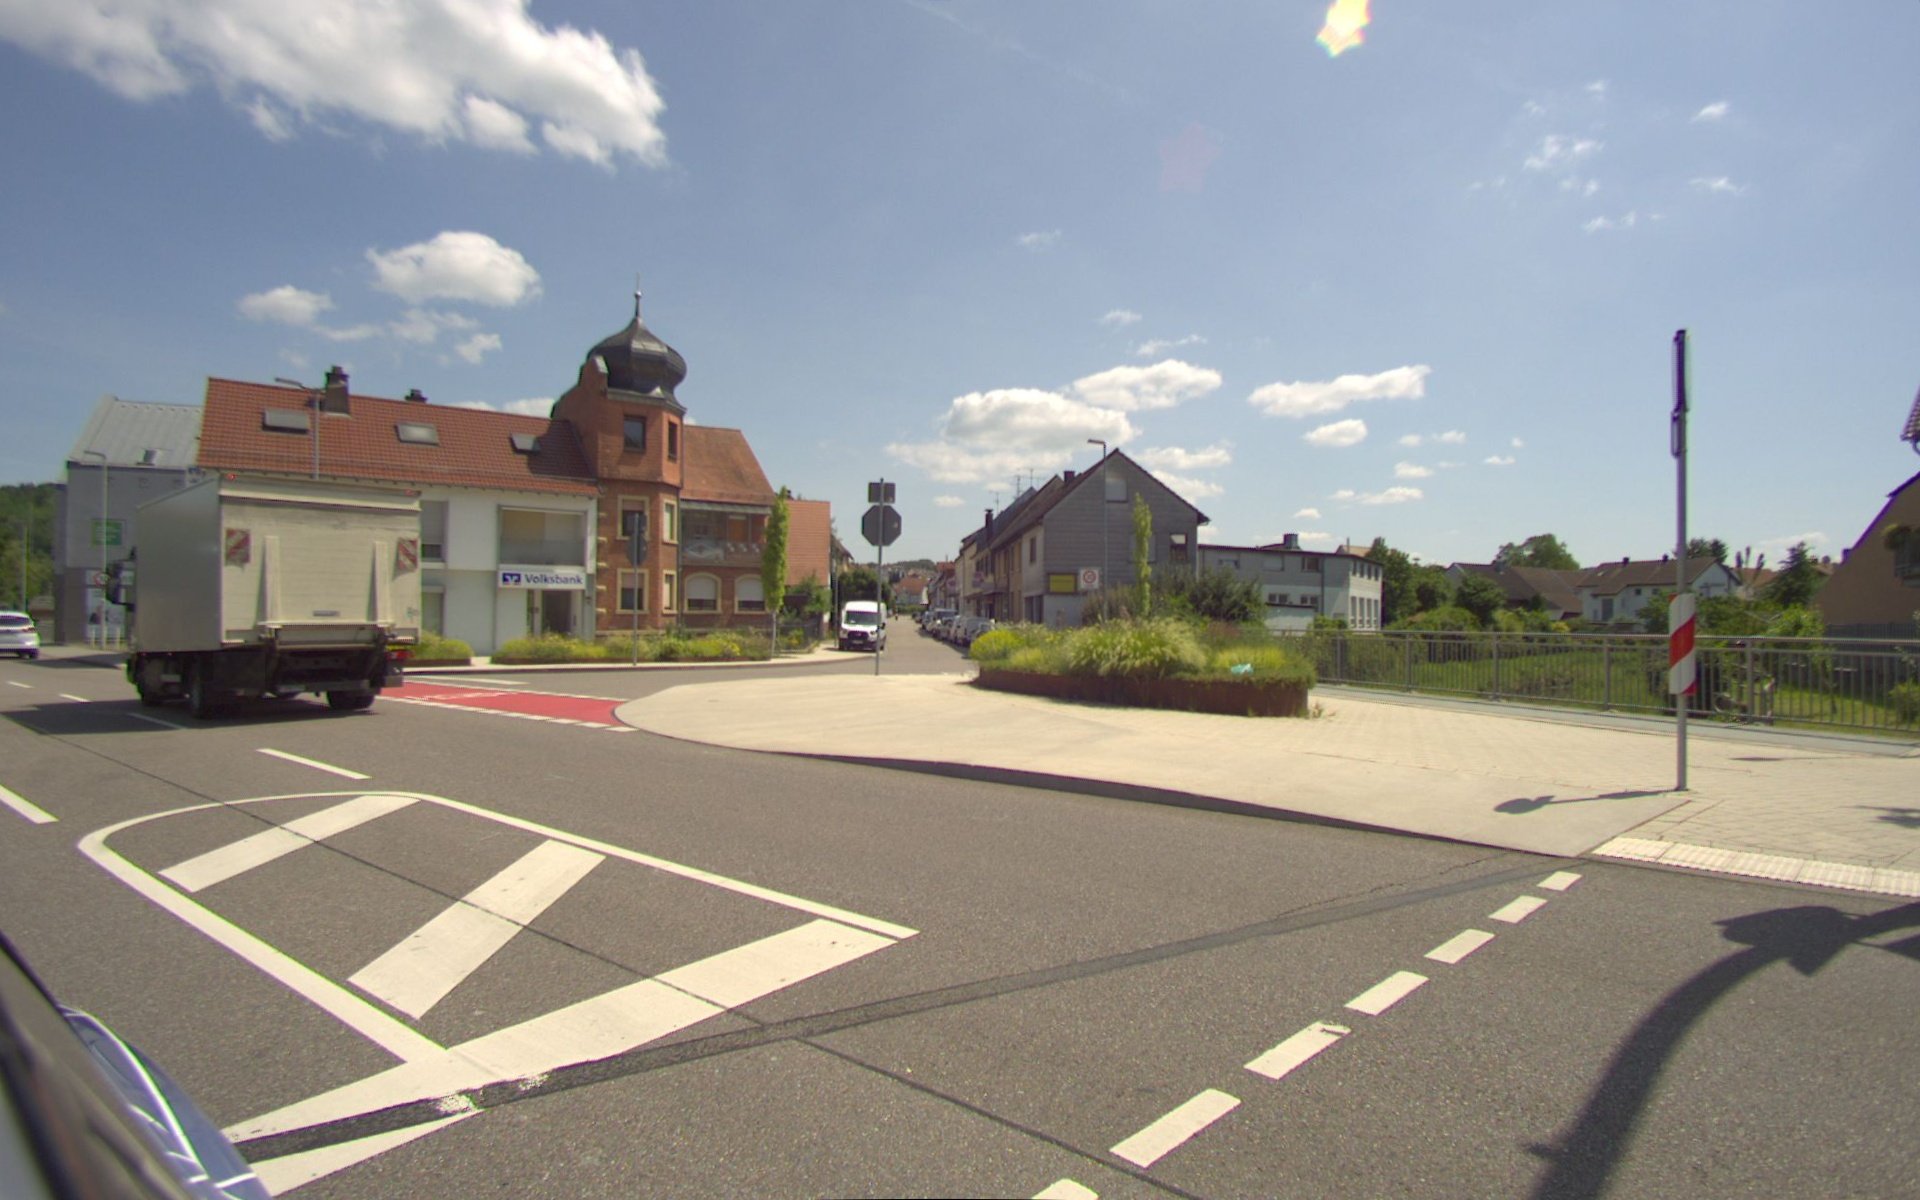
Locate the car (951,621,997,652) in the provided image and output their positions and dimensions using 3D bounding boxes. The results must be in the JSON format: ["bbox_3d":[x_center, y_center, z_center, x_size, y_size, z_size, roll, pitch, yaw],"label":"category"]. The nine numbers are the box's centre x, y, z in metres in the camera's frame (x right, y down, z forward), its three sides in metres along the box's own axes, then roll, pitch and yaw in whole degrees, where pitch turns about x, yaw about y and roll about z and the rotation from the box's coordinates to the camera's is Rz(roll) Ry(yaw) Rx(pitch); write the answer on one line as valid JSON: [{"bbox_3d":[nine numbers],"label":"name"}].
[{"bbox_3d":[0.787,2.138,60.574,2.036,1.741,4.008,2,-2,-9],"label":"car"}]

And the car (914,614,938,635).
[{"bbox_3d":[-3.210,2.263,94.371,1.838,1.864,4.005,2,-2,-6],"label":"car"}]

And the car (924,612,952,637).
[{"bbox_3d":[-1.819,1.974,81.161,1.838,1.864,4.005,2,-2,-6],"label":"car"}]

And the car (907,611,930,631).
[{"bbox_3d":[-4.392,2.197,107.607,1.968,2.029,4.007,2,-2,-8],"label":"car"}]

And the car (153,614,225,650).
[{"bbox_3d":[-35.757,1.493,47.039,1.965,1.587,4.266,2,-3,-28],"label":"car"}]

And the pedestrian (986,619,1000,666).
[{"bbox_3d":[1.252,1.596,38.410,0.500,1.762,0.614,0,-1,3],"label":"pedestrian"}]

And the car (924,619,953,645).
[{"bbox_3d":[-1.668,2.407,76.504,1.838,1.864,4.005,2,-2,-6],"label":"car"}]

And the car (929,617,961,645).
[{"bbox_3d":[-1.070,2.183,71.585,1.838,1.864,4.005,2,-2,-6],"label":"car"}]

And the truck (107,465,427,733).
[{"bbox_3d":[-10.580,0.016,15.221,6.035,3.260,2.476,-1,-1,40],"label":"truck"}]

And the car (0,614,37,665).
[{"bbox_3d":[-33.290,1.339,34.936,4.000,1.662,1.795,0,0,43],"label":"car"}]

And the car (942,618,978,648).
[{"bbox_3d":[-0.002,2.135,65.851,1.894,1.892,4.005,2,-2,-6],"label":"car"}]

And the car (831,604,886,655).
[{"bbox_3d":[-5.000,1.468,50.446,2.143,2.363,5.110,1,-2,1],"label":"car"}]

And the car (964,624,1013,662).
[{"bbox_3d":[1.206,1.871,44.686,1.761,1.559,4.237,1,-2,-3],"label":"car"}]

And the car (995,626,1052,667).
[{"bbox_3d":[2.358,1.740,38.410,1.834,1.475,4.000,0,-2,-1],"label":"car"}]
